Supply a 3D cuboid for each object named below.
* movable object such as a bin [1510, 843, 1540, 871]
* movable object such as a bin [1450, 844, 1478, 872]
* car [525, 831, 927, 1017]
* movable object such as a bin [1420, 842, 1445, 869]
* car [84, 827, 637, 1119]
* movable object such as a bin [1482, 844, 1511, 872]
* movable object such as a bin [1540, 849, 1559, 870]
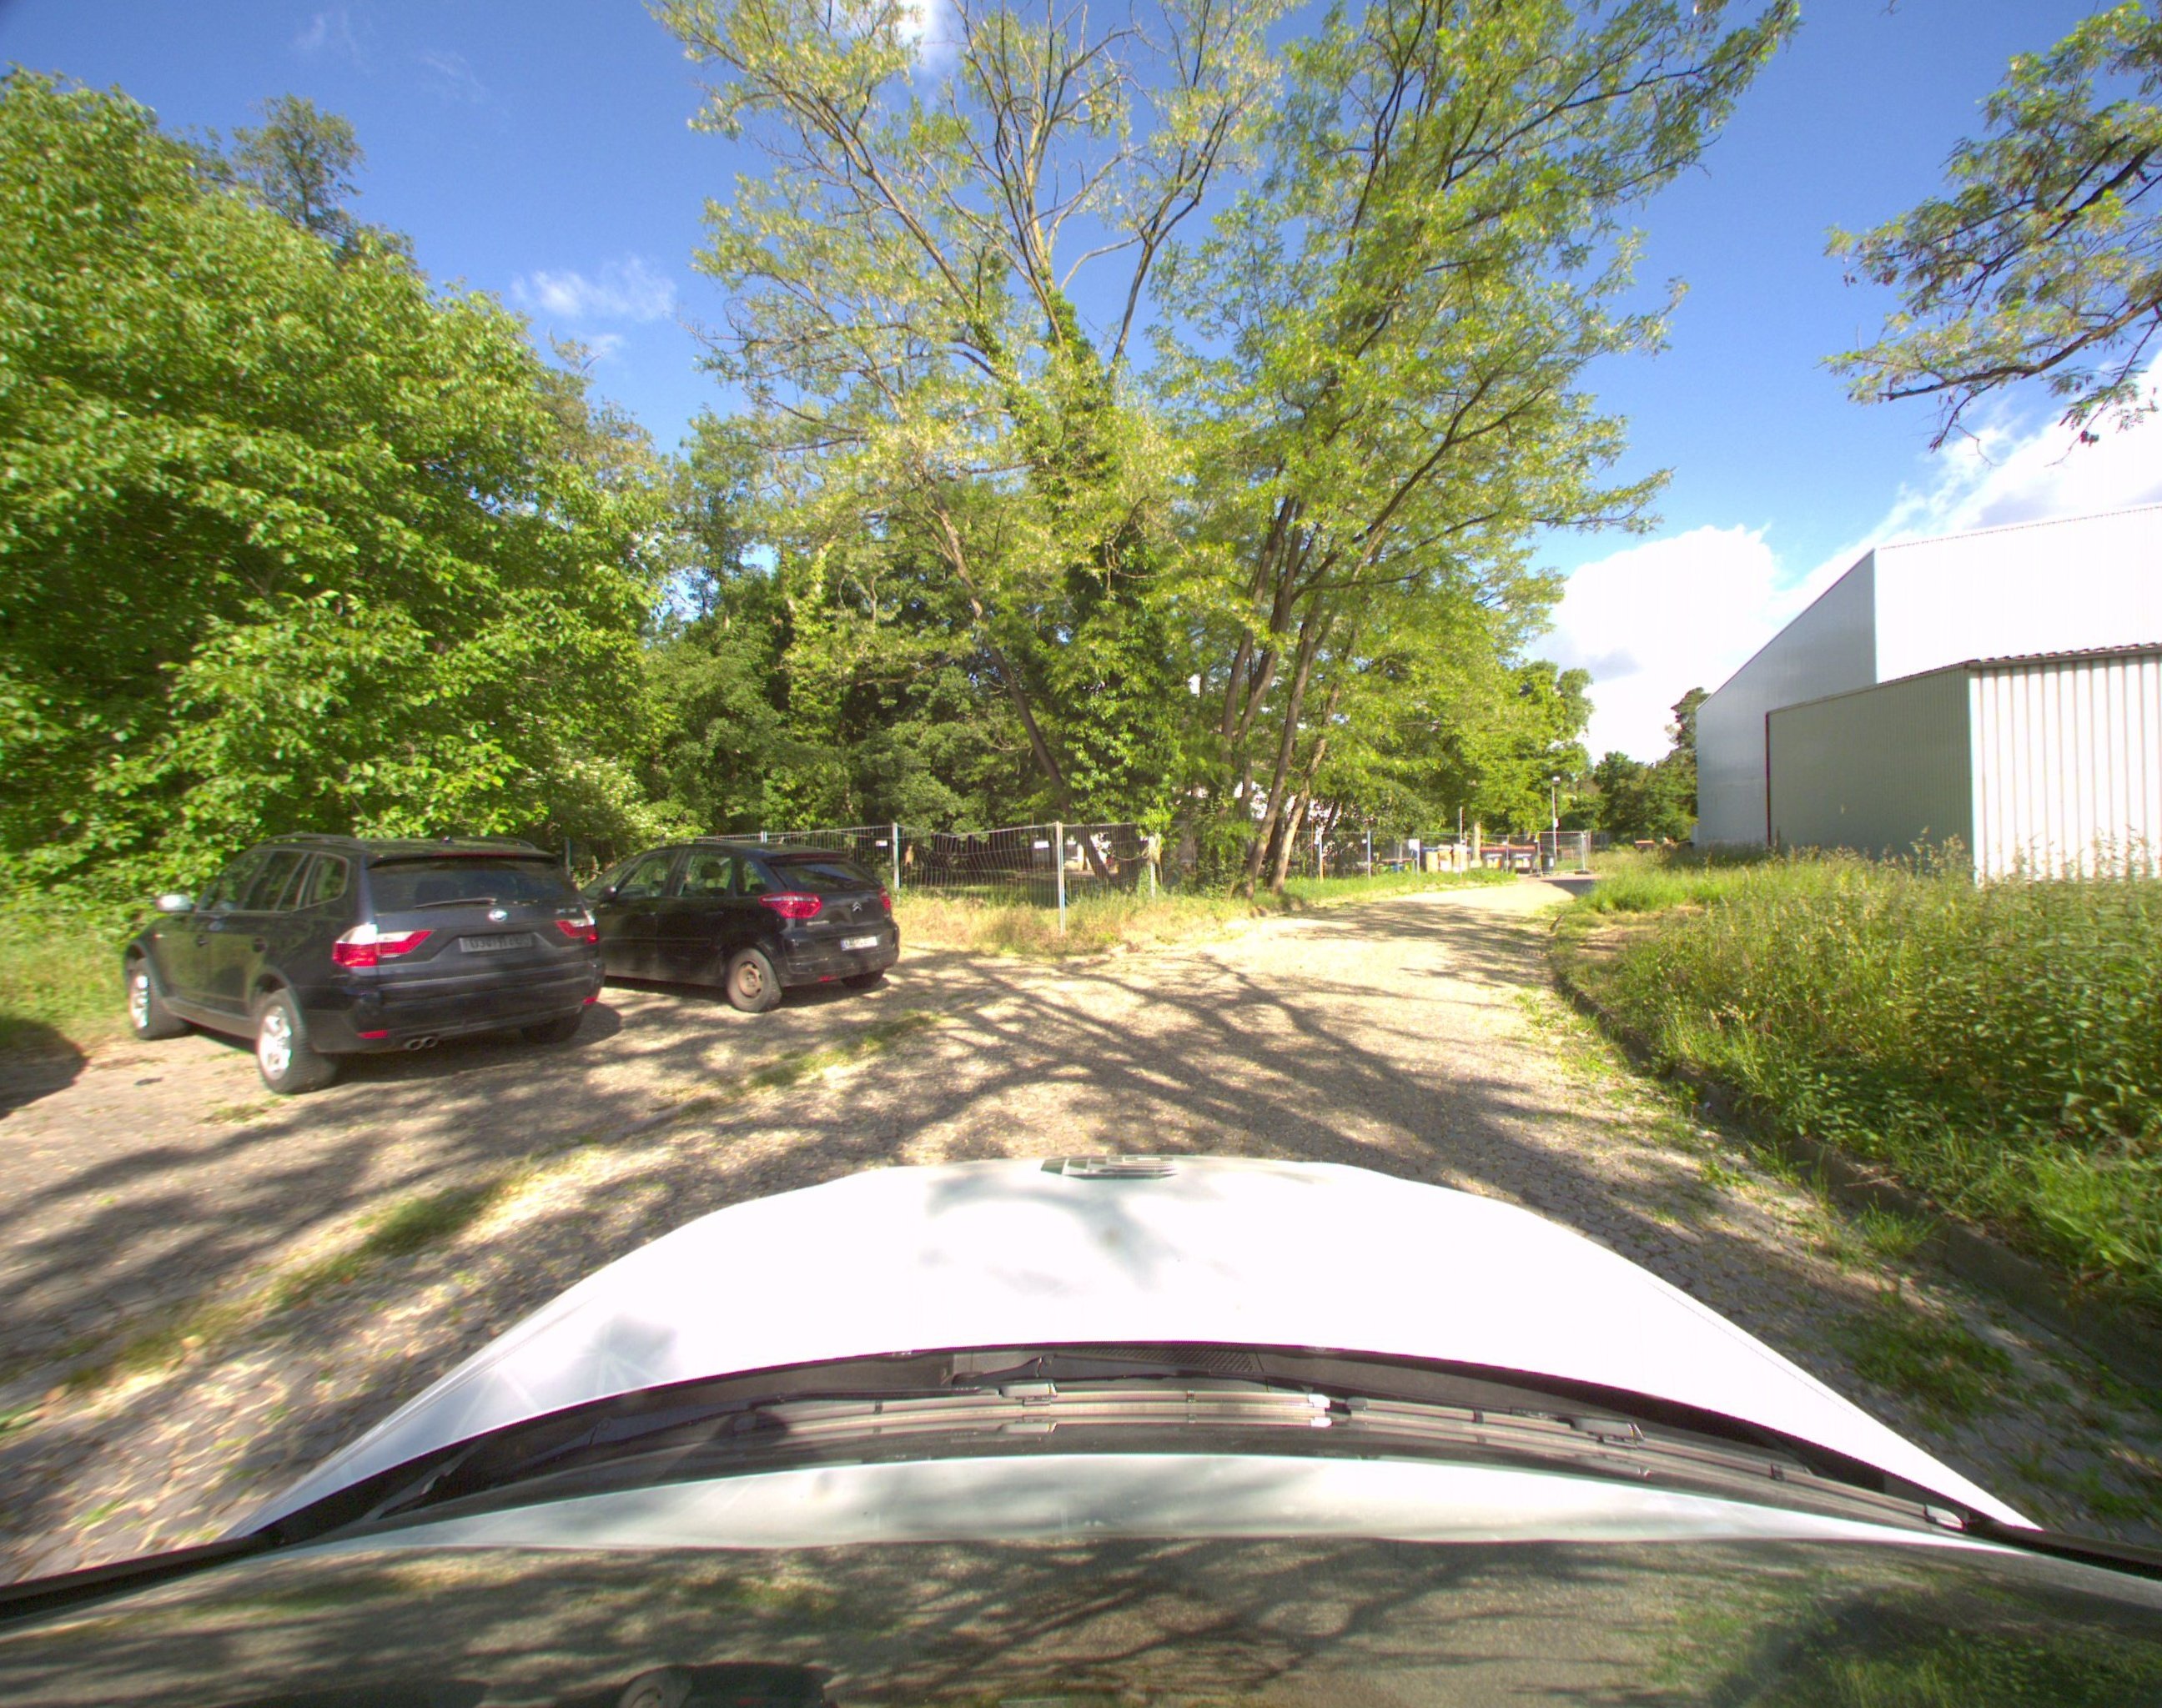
[{"bbox_3d":[22.836,0.162,41.874,1.275,1.426,1.038,-2,-1,26],"label":"movable object such as a bin"},{"bbox_3d":[20.342,0.199,43.207,1.275,1.426,1.038,-2,-1,27],"label":"movable object such as a bin"},{"bbox_3d":[-4.057,0.608,9.254,4.221,1.589,1.840,3,2,25],"label":"car"},{"bbox_3d":[18.913,0.067,43.837,1.073,1.438,1.062,-2,-1,32],"label":"movable object such as a bin"},{"bbox_3d":[-5.792,0.653,6.495,4.220,1.631,1.892,2,1,28],"label":"car"},{"bbox_3d":[21.664,0.192,42.459,1.275,1.426,1.038,-2,-1,27],"label":"movable object such as a bin"},{"bbox_3d":[23.701,0.277,41.197,0.608,1.007,0.635,-1,-1,-45],"label":"movable object such as a bin"}]
